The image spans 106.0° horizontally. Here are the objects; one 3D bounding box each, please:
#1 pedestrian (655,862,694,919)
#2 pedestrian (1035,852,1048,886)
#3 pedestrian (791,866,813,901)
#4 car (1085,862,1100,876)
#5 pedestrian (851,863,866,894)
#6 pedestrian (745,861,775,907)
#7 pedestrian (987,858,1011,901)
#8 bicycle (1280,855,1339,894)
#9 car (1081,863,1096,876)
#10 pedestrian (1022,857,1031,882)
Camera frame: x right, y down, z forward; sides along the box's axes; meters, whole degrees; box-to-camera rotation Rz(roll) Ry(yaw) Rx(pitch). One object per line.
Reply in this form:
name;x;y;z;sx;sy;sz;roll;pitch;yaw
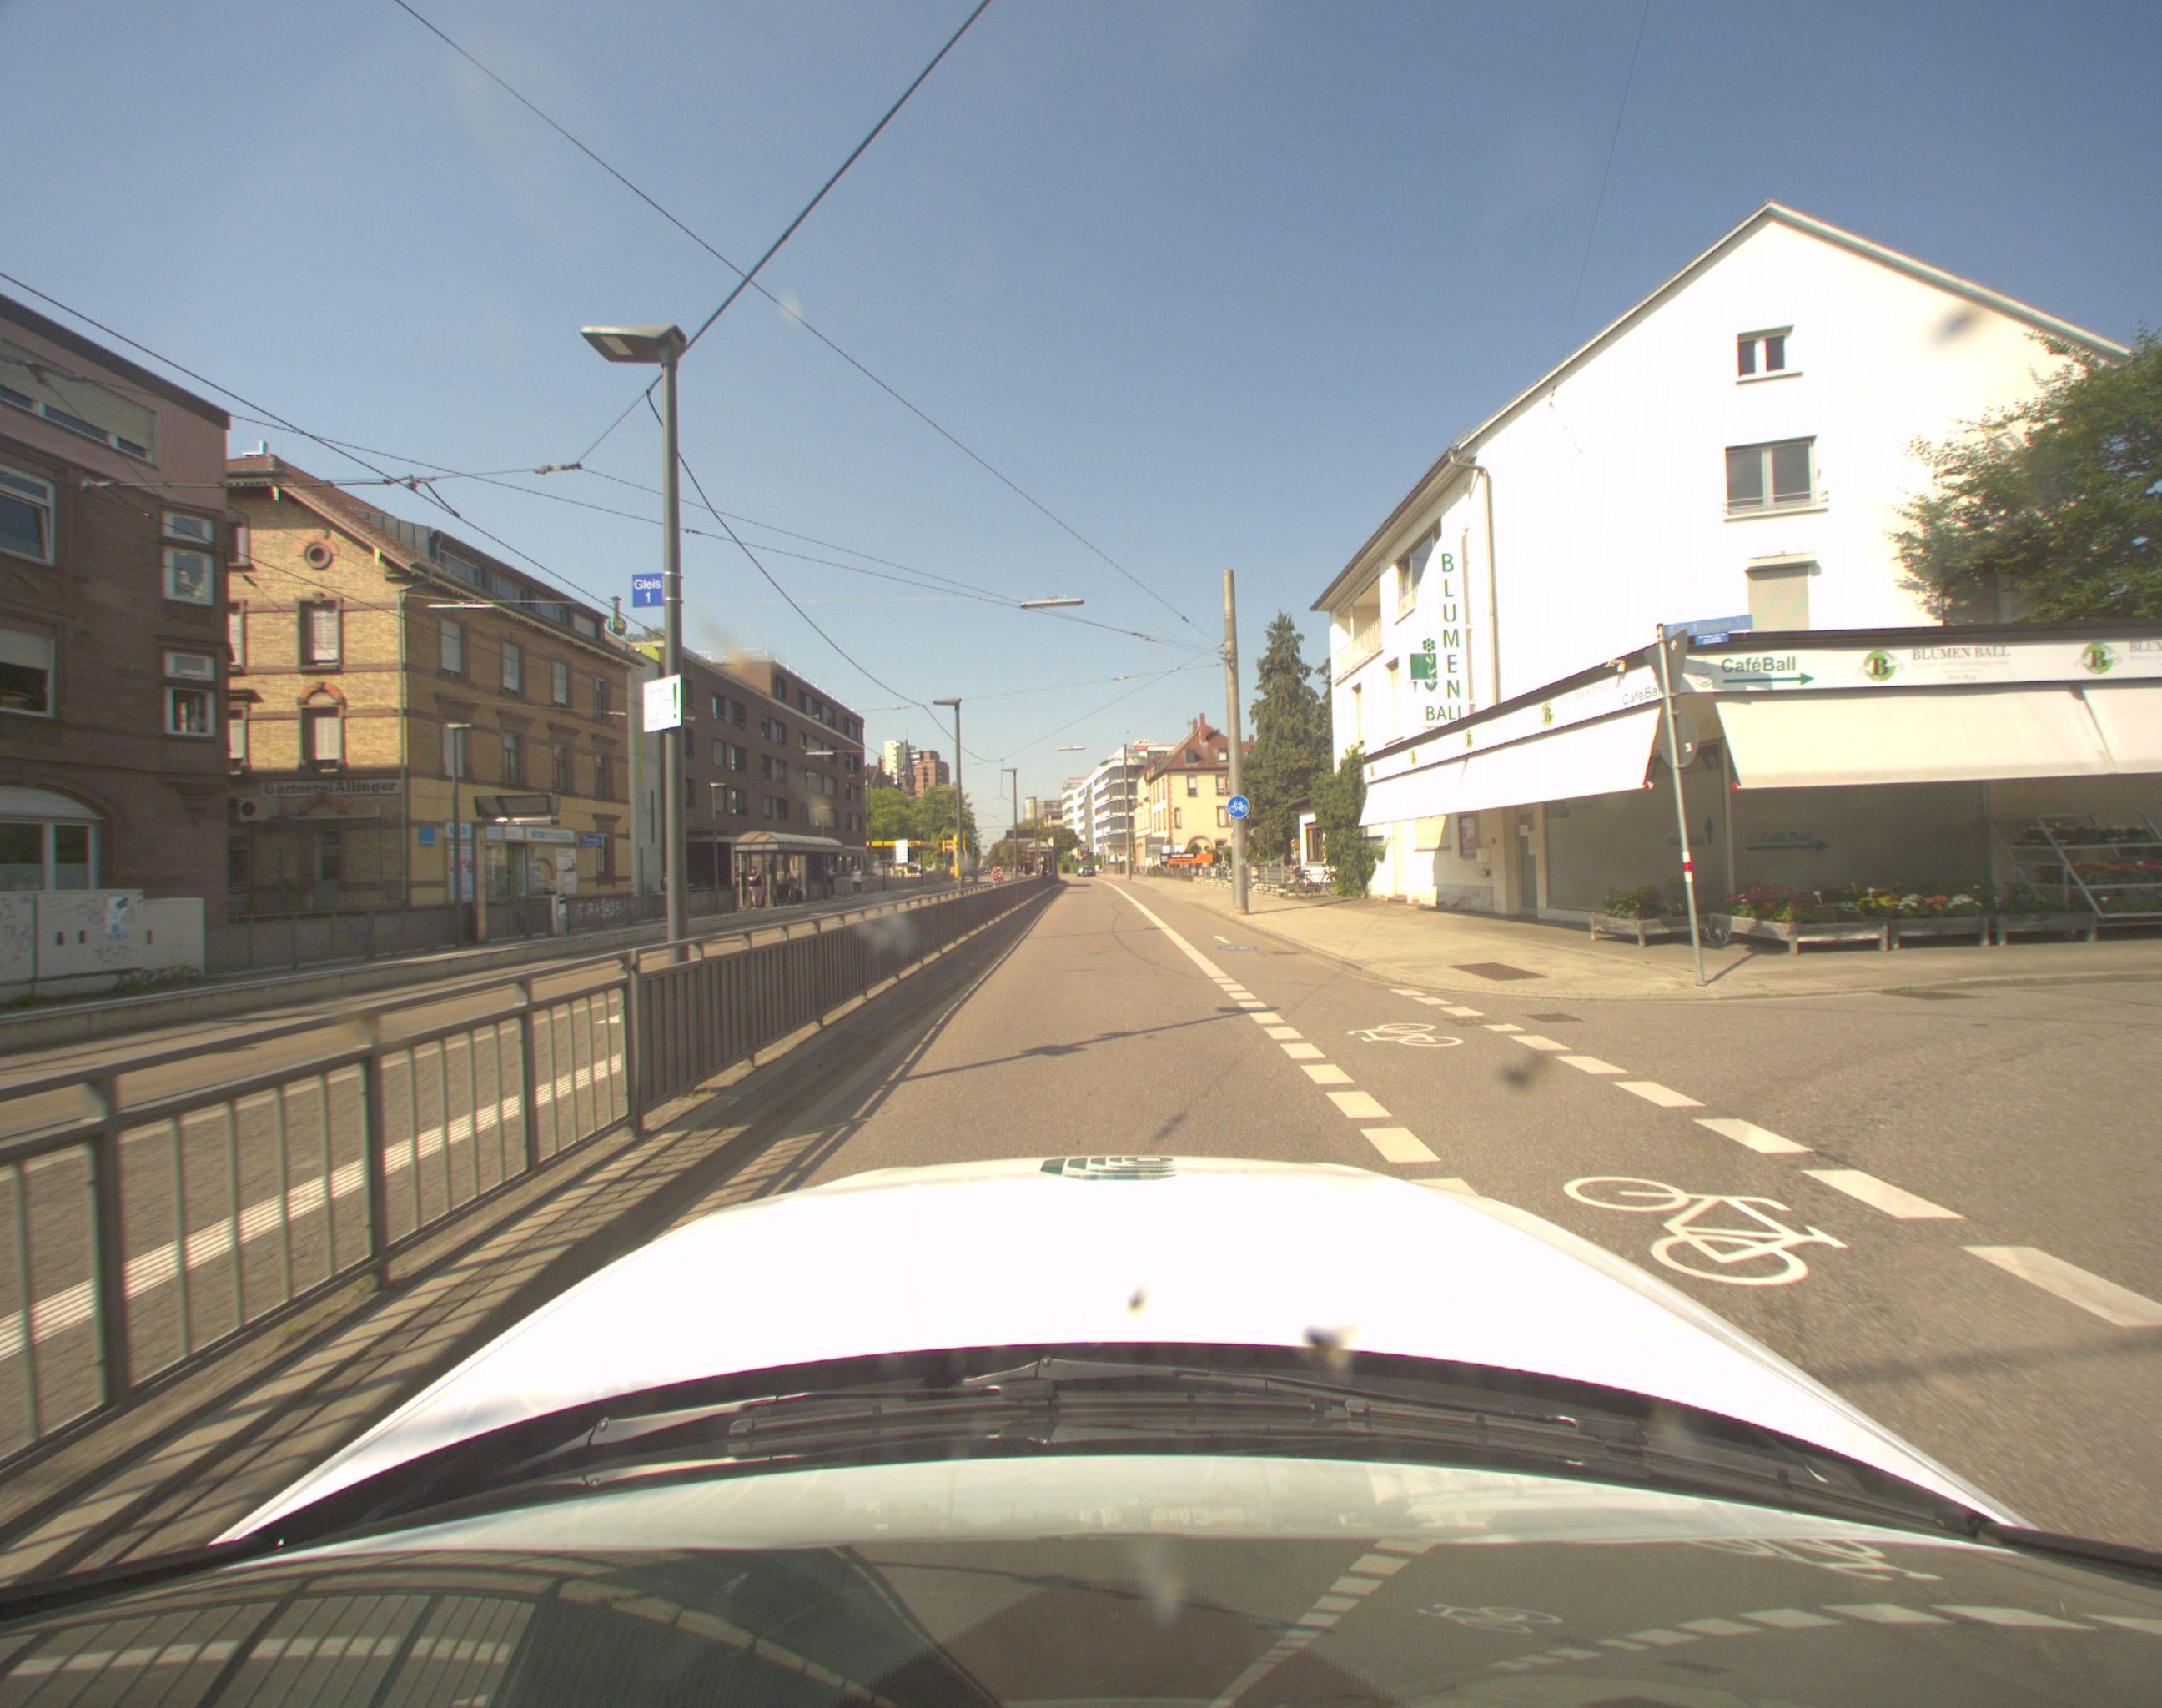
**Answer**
pedestrian;-12.775;1.136;25.588;0.705;1.723;0.799;-4;-1;1
pedestrian;-1.982;0.759;41.210;0.535;1.703;0.581;-4;-1;-2
pedestrian;-12.159;1.286;35.473;0.696;1.468;0.534;-4;-2;2
car;1.636;2.172;116.686;2.004;1.859;4.001;-4;-1;2
pedestrian;-11.437;1.250;41.954;0.532;1.530;0.700;-4;-1;-6
pedestrian;-12.662;1.188;32.138;0.705;1.747;0.799;-4;-1;1
pedestrian;-3.341;1.023;33.214;0.717;1.703;0.884;-4;-1;1
bicycle;7.403;0.668;26.534;0.730;1.132;2.833;-6;0;-7
car;1.193;2.356;122.828;2.004;1.859;4.001;-4;-1;2
pedestrian;-3.805;1.064;57.054;0.535;1.703;0.581;-4;-1;-2
